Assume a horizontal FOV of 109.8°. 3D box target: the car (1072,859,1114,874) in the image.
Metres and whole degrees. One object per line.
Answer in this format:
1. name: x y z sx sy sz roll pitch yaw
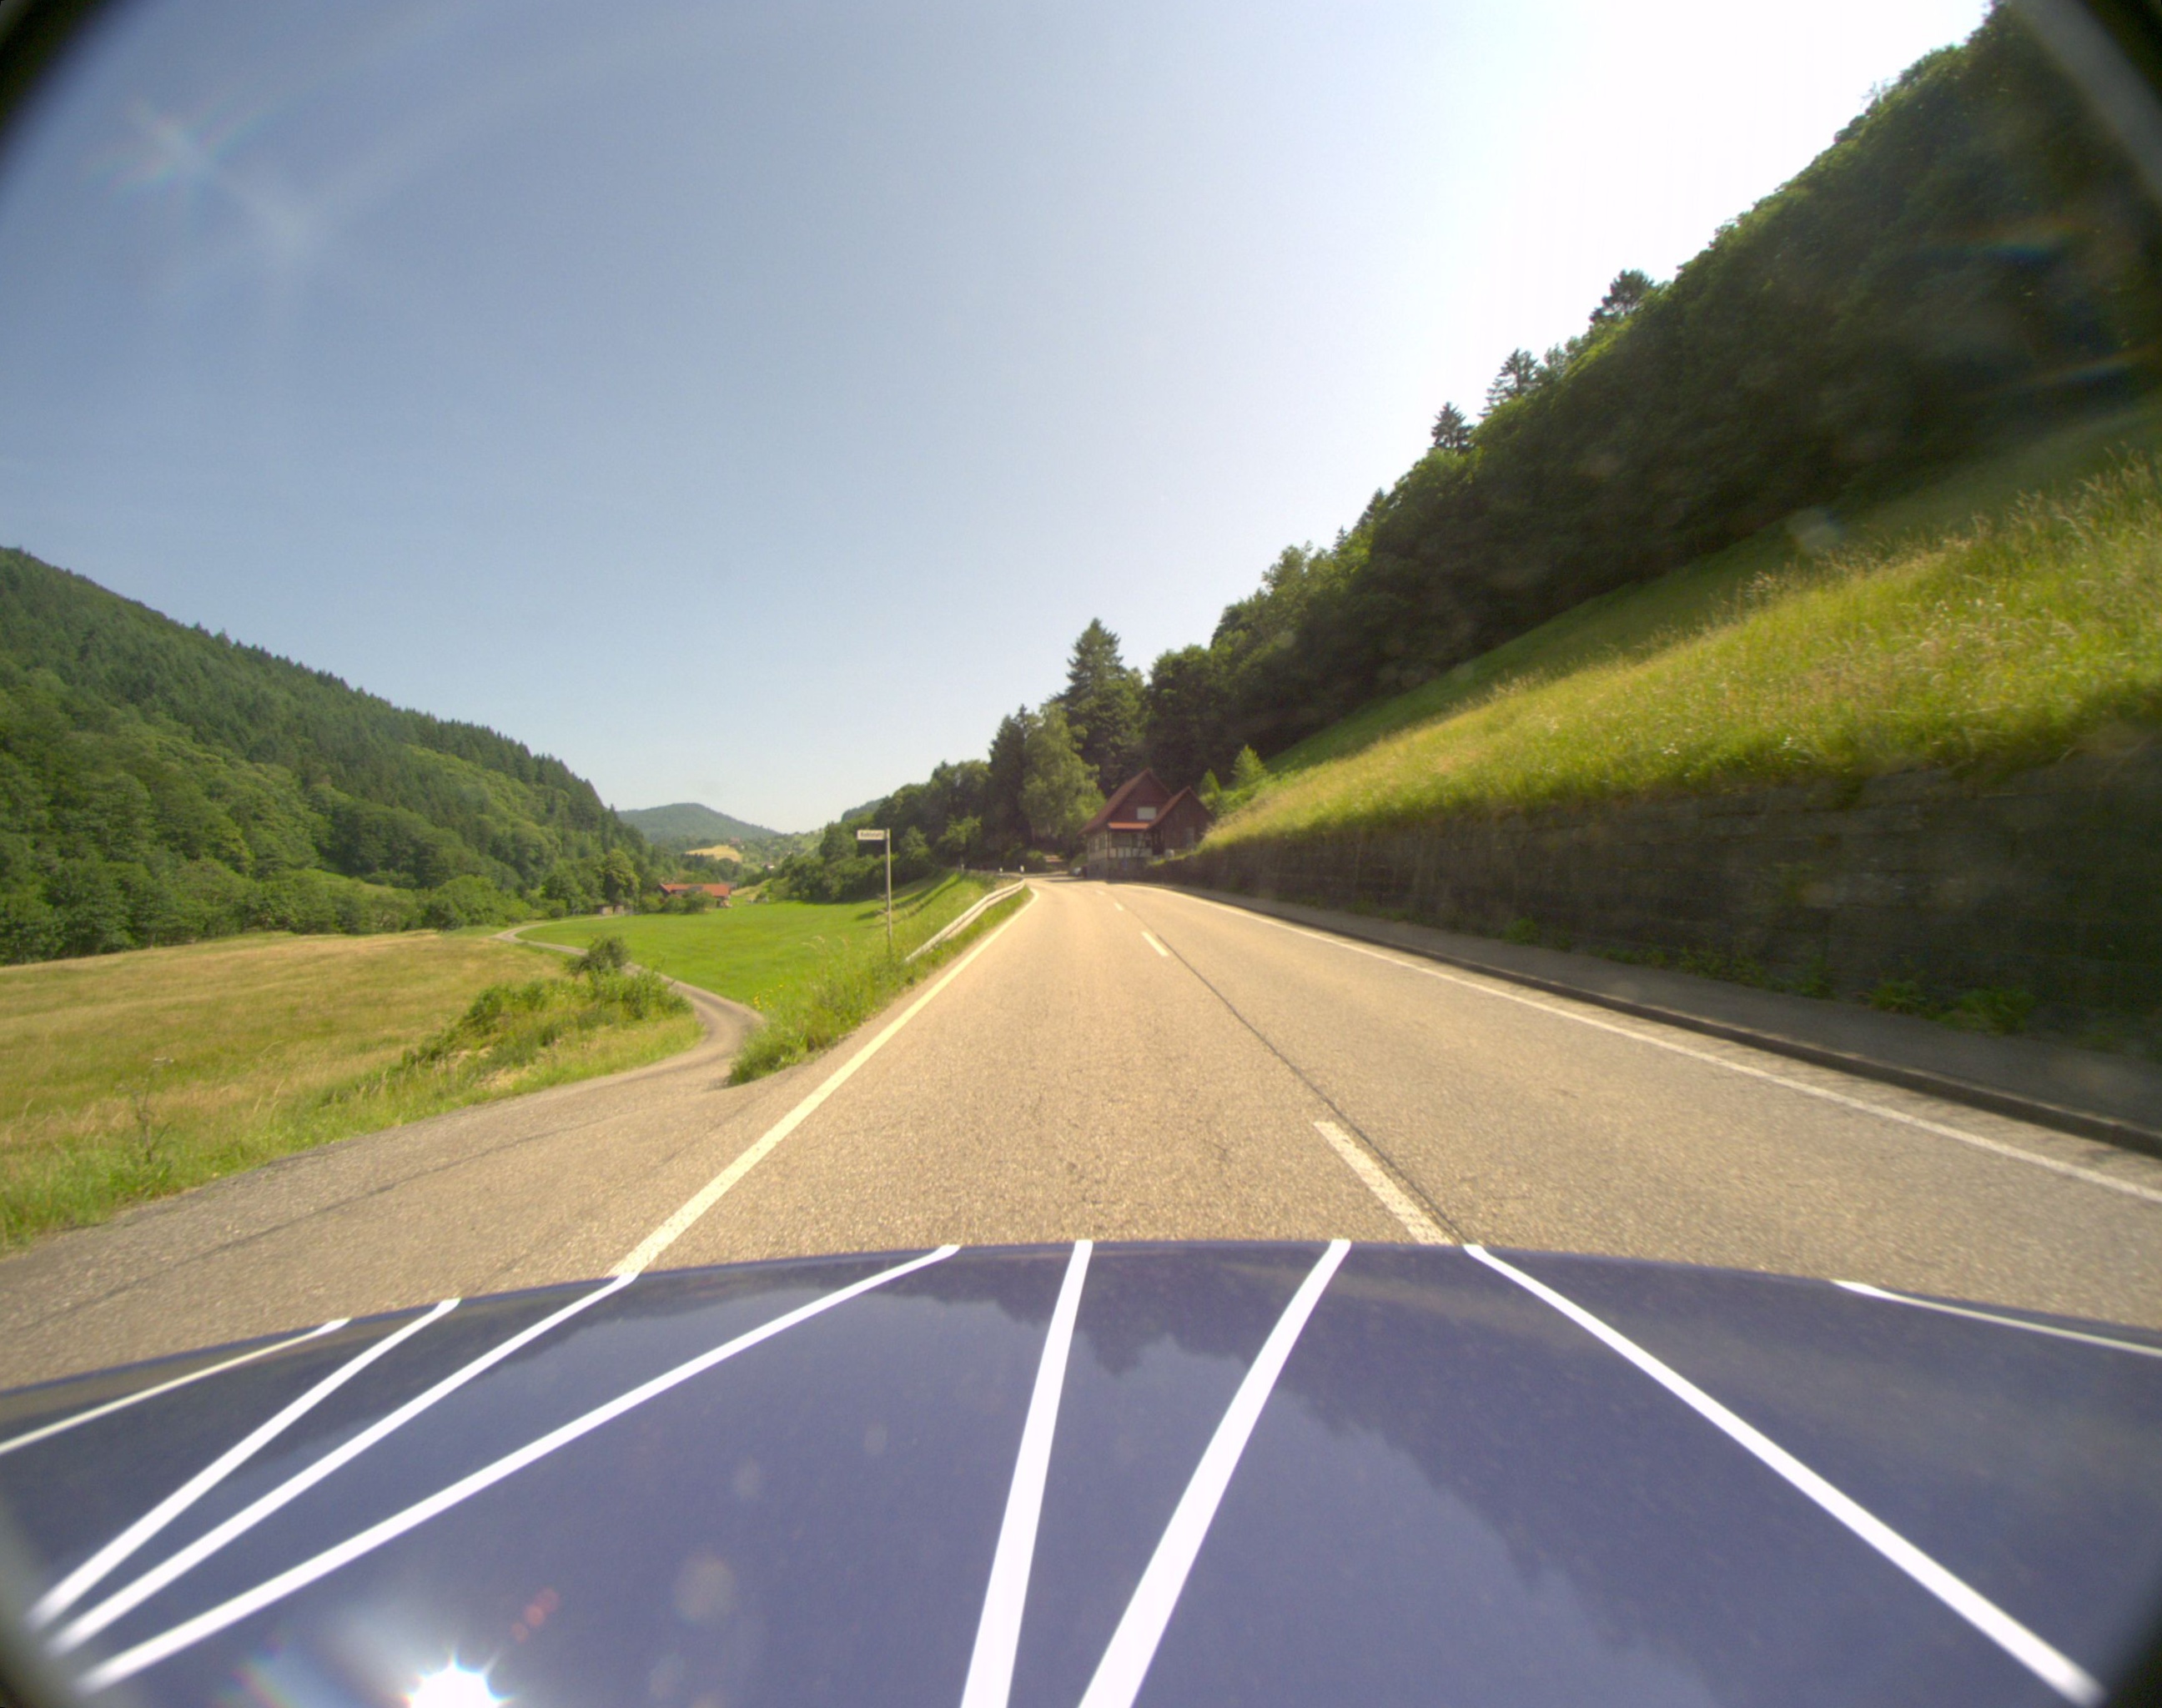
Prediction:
1. car: 1.191 1.251 76.754 3.830 1.408 1.855 -2 -1 -14

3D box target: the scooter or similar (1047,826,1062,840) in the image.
1. scooter or similar: -4.622 -3.595 130.683 1.984 2.015 4.402 -6 1 -7

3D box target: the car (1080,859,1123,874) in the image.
1. car: 1.985 1.191 74.244 3.830 1.424 1.861 0 1 -14

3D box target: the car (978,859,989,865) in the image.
1. car: -22.742 1.853 176.728 1.772 1.388 4.138 -3 1 -17
